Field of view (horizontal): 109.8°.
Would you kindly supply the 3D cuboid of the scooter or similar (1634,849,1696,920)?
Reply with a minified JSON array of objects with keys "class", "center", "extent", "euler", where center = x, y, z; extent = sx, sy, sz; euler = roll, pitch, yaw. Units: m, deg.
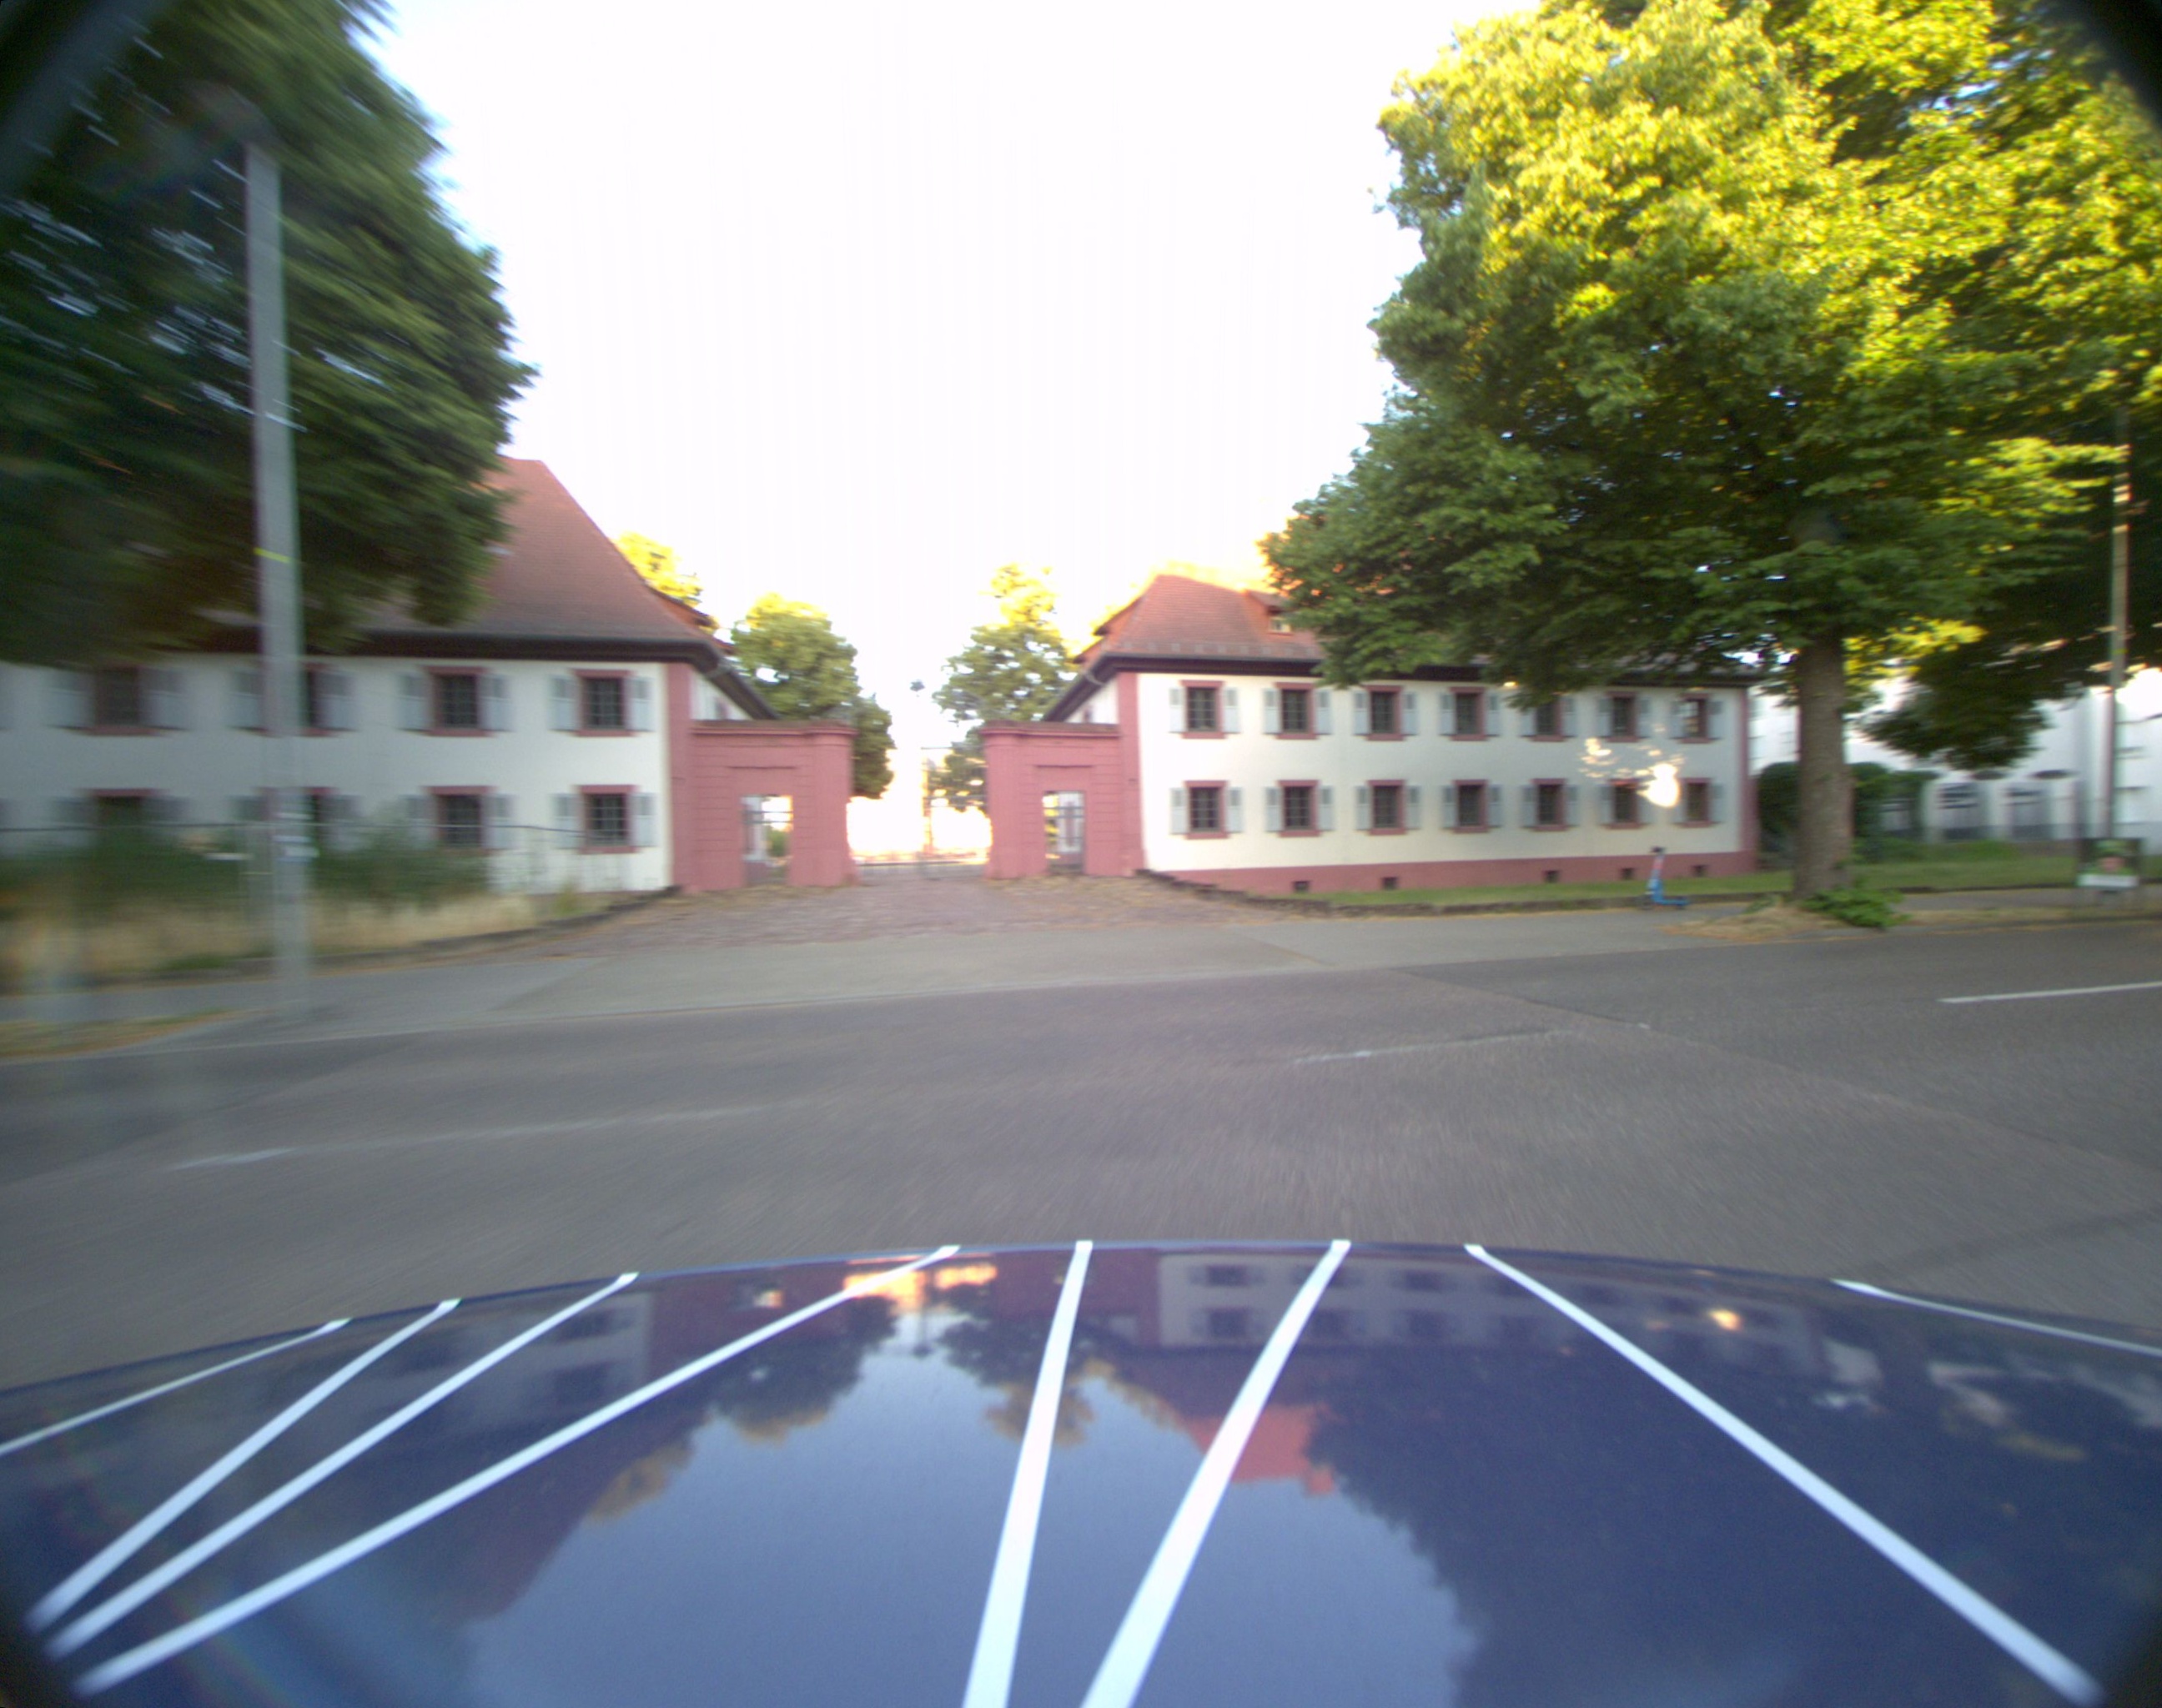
[{"class":"scooter or similar","center":[11.042,0.564,14.357],"extent":[1.268,1.269,0.239],"euler":[-2,1,-18]}]
